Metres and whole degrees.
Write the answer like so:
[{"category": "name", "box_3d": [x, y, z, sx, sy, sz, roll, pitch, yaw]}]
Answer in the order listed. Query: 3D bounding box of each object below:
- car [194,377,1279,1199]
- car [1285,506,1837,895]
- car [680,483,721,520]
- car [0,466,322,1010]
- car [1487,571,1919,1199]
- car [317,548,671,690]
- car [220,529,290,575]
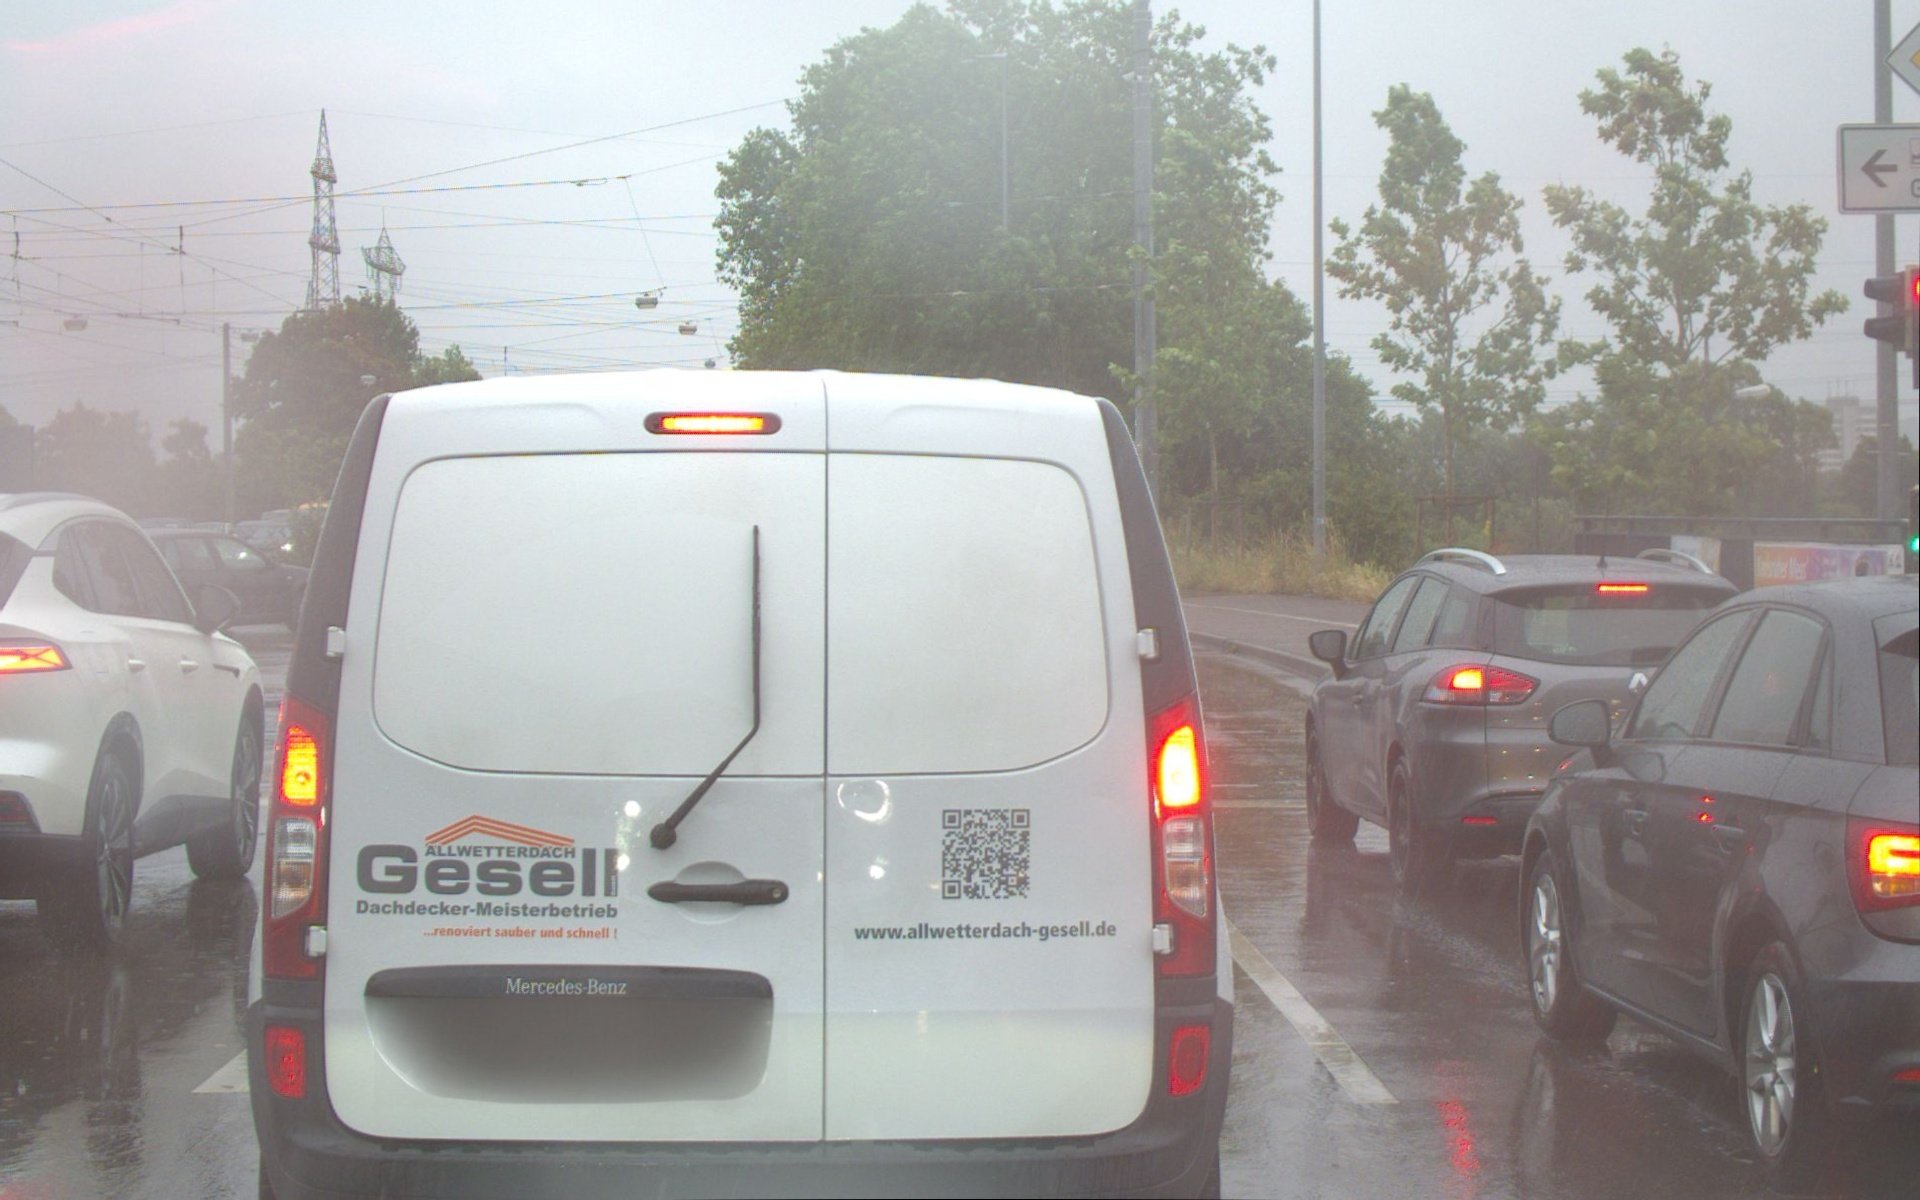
[{"category": "car", "box_3d": [-0.508, 0.456, 7.692, 1.754, 1.744, 4.170, 1, 2, -4]}, {"category": "car", "box_3d": [2.560, 0.371, 15.530, 1.684, 1.503, 3.921, 1, 1, -1]}, {"category": "car", "box_3d": [-12.876, -4.886, 170.522, 1.947, 1.656, 4.465, 2, 0, -4]}, {"category": "car", "box_3d": [-3.897, 0.399, 13.509, 1.930, 1.769, 4.664, 1, 1, -1]}, {"category": "car", "box_3d": [2.517, 0.618, 8.996, 1.597, 1.362, 3.631, -1, 0, -2]}, {"category": "car", "box_3d": [-5.292, 0.232, 39.334, 1.650, 1.502, 3.733, 3, 1, 45]}, {"category": "car", "box_3d": [-23.117, -1.569, 112.776, 1.559, 1.421, 3.569, 2, 0, -1]}]
